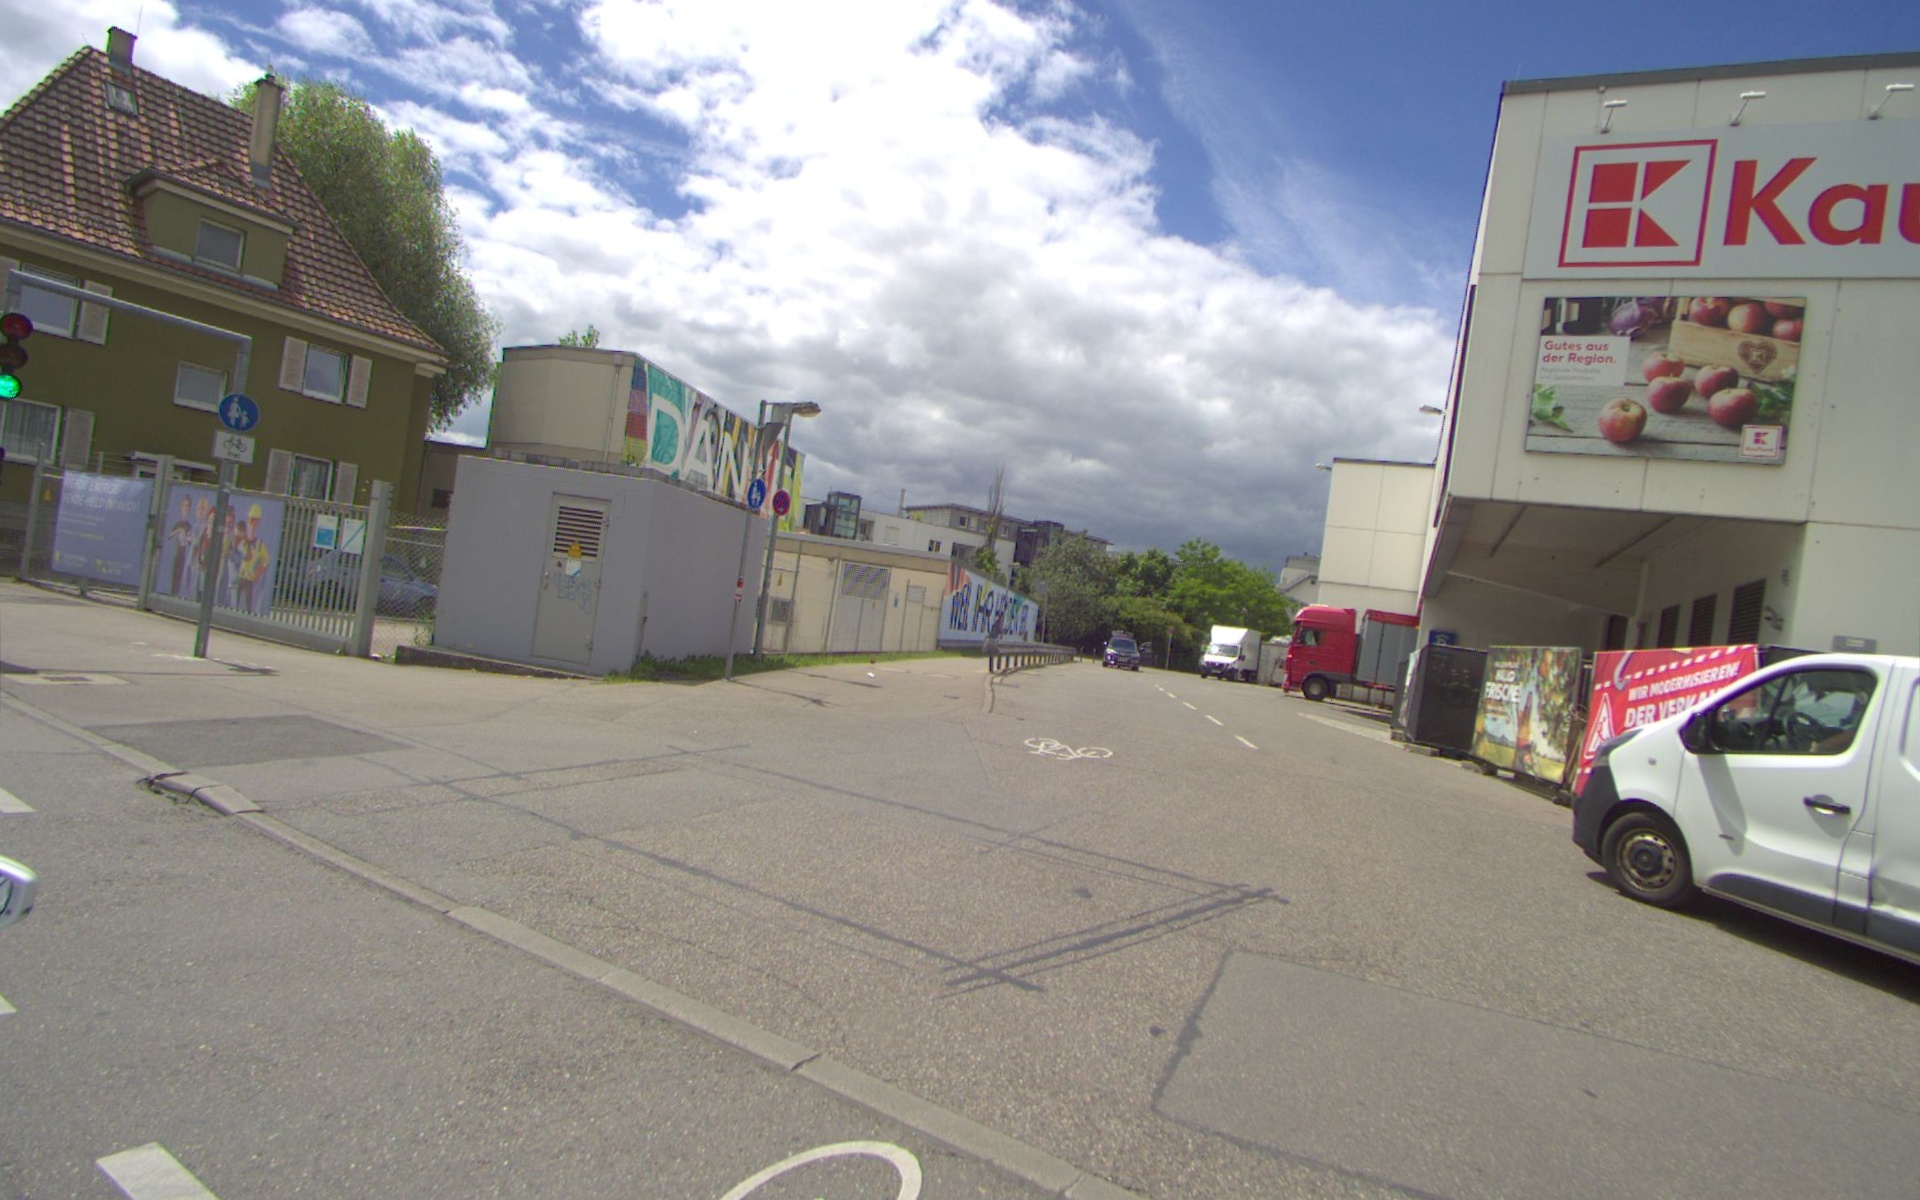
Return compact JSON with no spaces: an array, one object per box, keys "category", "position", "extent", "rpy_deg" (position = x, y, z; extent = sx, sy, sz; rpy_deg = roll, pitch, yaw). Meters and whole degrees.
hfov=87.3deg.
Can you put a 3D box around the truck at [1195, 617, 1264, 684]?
[{"category":"truck","position":[16.132,3.095,59.893],"extent":[2.369,3.264,7.430],"rpy_deg":[7,-3,25]}]

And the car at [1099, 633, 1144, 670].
[{"category":"car","position":[8.394,2.713,52.524],"extent":[1.838,1.622,3.978],"rpy_deg":[8,-3,5]}]

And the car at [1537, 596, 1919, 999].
[{"category":"car","position":[6.198,1.221,5.547],"extent":[1.967,2.050,5.334],"rpy_deg":[6,2,-13]}]

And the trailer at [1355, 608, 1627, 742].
[{"category":"trailer","position":[20.633,2.886,39.808],"extent":[8.899,3.905,2.606],"rpy_deg":[7,-2,21]}]

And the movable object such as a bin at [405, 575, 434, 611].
[{"category":"movable object such as a bin","position":[-15.162,-0.190,28.220],"extent":[0.446,0.929,0.481],"rpy_deg":[7,-2,38]}]

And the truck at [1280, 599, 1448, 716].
[{"category":"truck","position":[16.521,2.363,41.434],"extent":[5.796,3.905,2.606],"rpy_deg":[7,-2,21]}]

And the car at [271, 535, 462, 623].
[{"category":"car","position":[-14.389,-0.464,24.565],"extent":[1.631,1.511,3.513],"rpy_deg":[9,-2,31]}]
